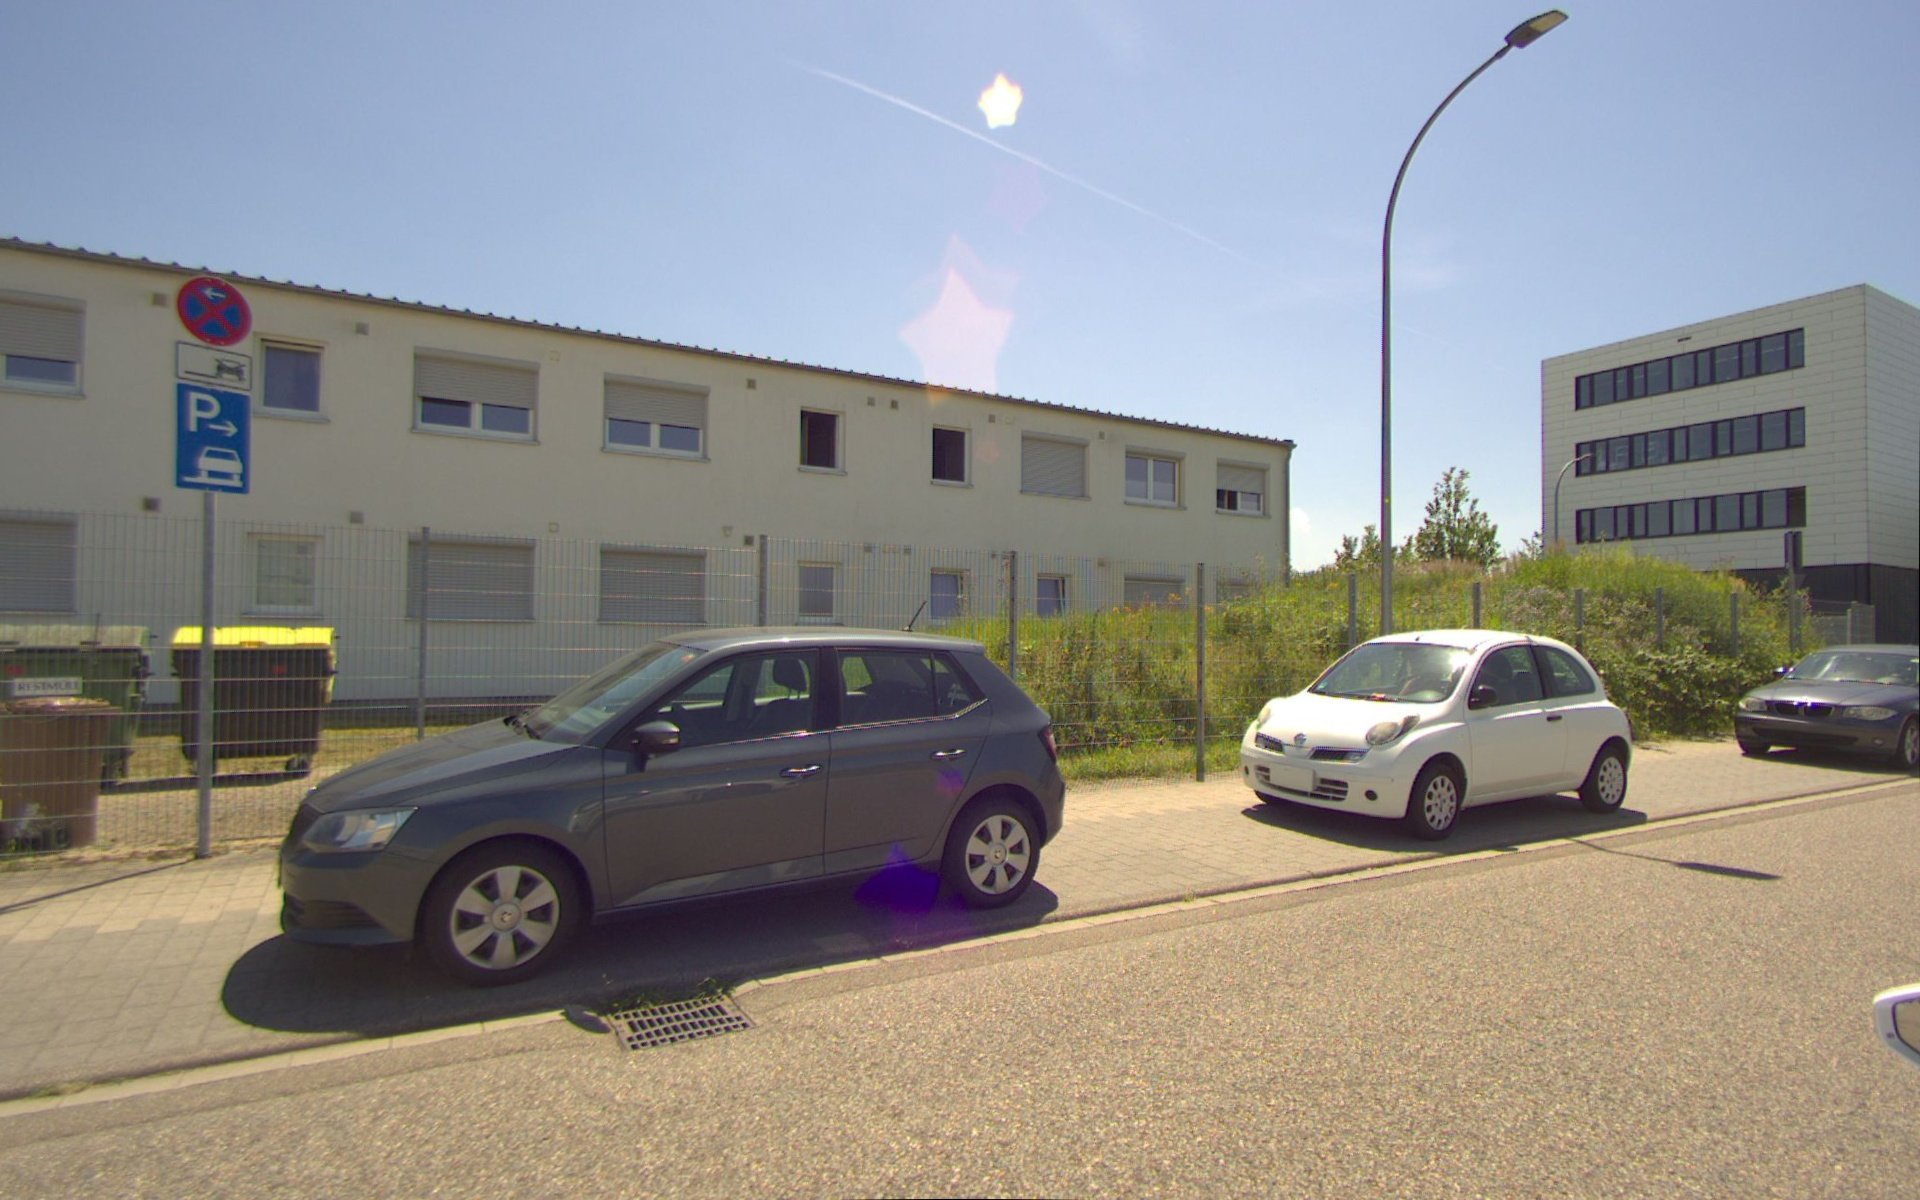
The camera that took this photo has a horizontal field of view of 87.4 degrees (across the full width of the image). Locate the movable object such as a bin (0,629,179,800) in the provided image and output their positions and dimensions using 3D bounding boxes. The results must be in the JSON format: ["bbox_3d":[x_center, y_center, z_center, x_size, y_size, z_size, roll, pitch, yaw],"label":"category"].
[{"bbox_3d":[-8.223,1.018,9.356,1.375,1.467,1.081,2,-2,-35],"label":"movable object such as a bin"}]

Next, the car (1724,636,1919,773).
[{"bbox_3d":[11.825,1.244,13.010,4.021,1.470,1.666,1,0,-31],"label":"car"}]

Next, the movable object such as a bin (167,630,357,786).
[{"bbox_3d":[-6.874,1.025,10.011,1.370,1.423,1.138,2,-2,-28],"label":"movable object such as a bin"}]

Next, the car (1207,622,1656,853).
[{"bbox_3d":[4.095,1.033,8.616,3.714,1.550,1.666,2,-1,-30],"label":"car"}]

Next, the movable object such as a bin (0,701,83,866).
[{"bbox_3d":[-5.741,1.110,6.132,0.490,0.952,0.303,2,-2,-28],"label":"movable object such as a bin"}]

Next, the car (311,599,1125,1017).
[{"bbox_3d":[-1.144,0.851,5.456,3.864,1.550,1.666,2,-2,-31],"label":"car"}]
